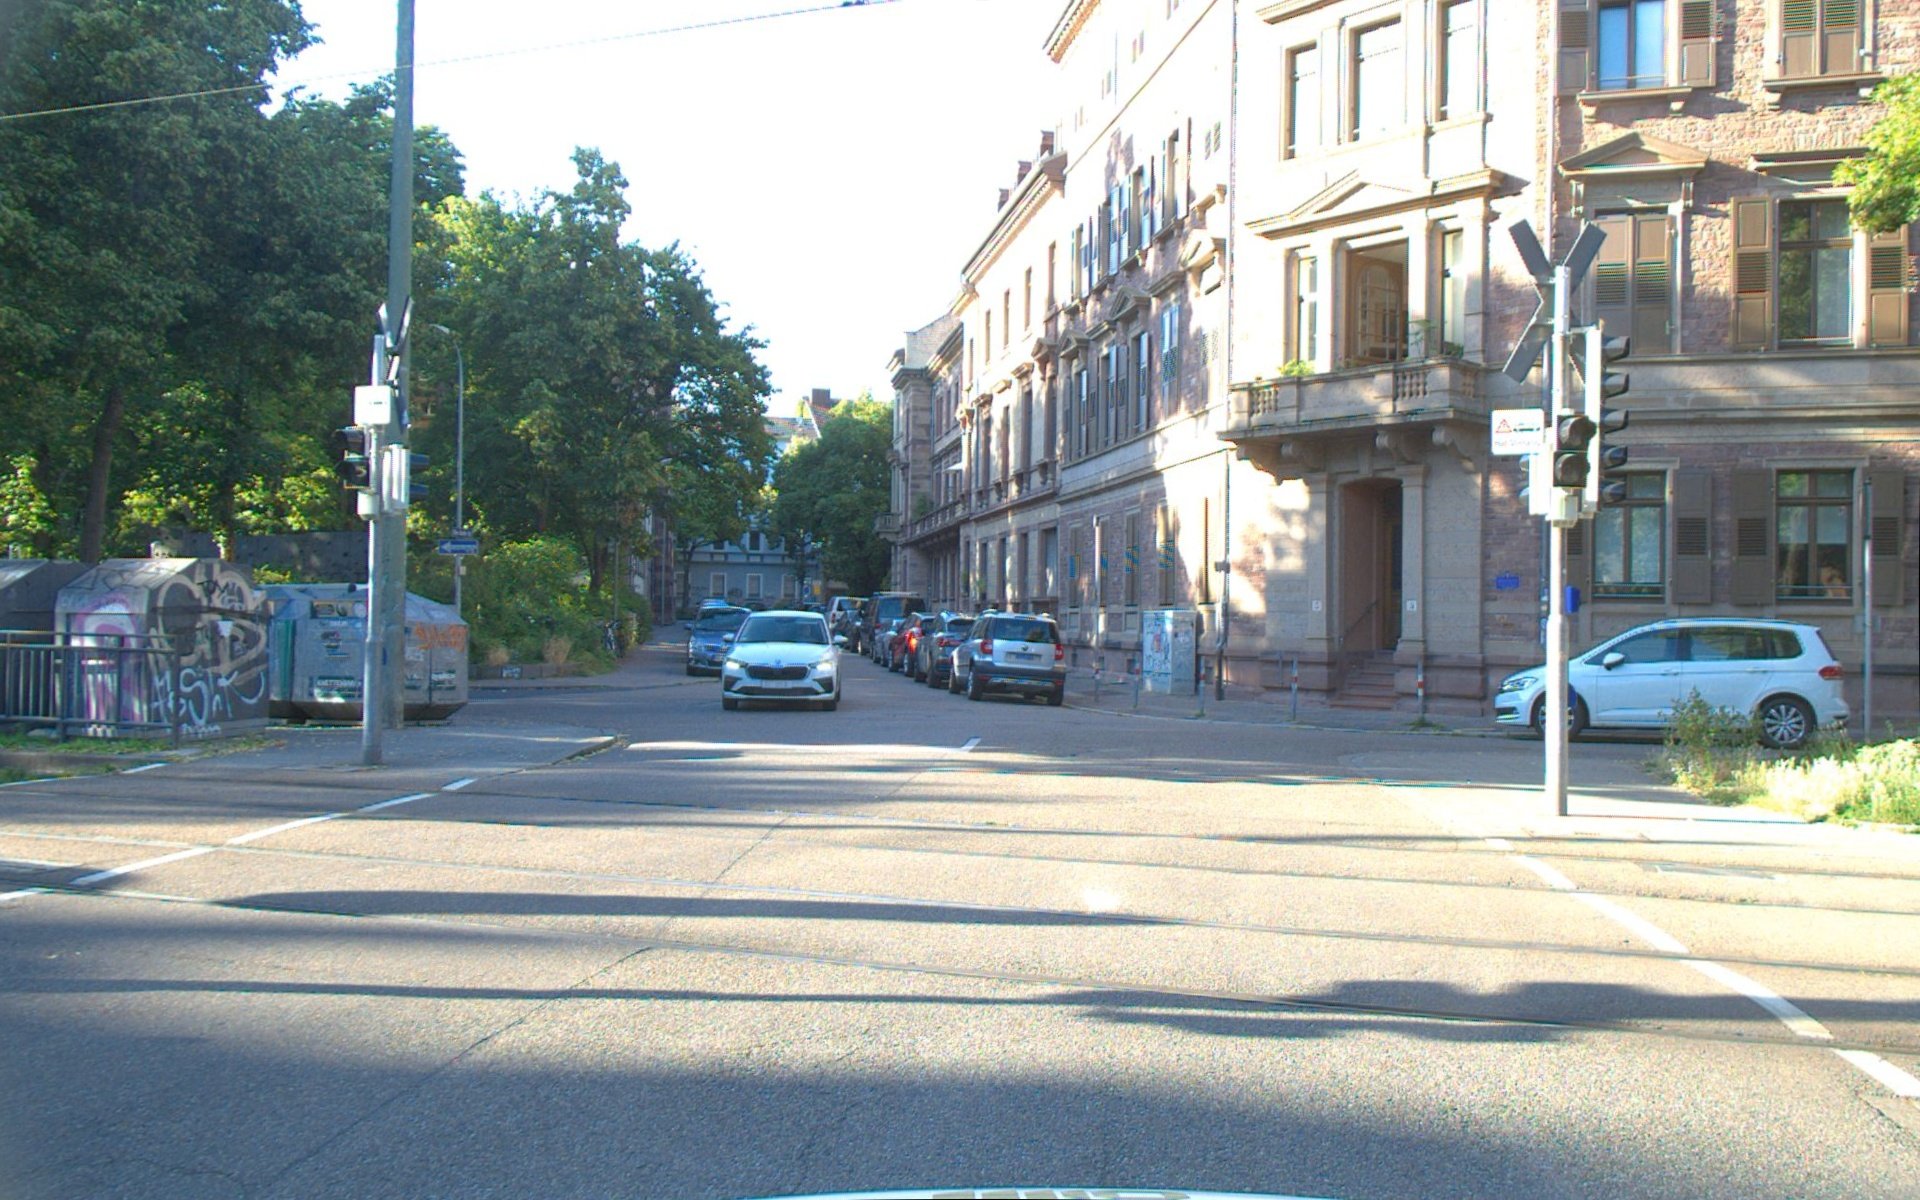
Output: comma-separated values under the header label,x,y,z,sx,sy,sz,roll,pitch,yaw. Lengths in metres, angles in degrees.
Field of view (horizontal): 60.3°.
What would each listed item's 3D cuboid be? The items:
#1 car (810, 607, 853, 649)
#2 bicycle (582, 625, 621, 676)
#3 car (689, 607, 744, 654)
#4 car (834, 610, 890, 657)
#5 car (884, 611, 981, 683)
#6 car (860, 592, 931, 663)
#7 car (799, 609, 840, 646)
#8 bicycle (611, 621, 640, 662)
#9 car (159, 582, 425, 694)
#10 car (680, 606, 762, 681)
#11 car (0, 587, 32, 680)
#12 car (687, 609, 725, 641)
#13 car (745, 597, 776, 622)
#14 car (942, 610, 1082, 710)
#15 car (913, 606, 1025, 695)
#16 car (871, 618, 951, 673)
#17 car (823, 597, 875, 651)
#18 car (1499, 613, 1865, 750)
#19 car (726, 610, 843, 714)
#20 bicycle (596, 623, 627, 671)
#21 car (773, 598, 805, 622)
label,x,y,z,sx,sy,sz,roll,pitch,yaw
car,-6.314,1.354,81.048,1.764,1.871,3.947,3,-1,-8
bicycle,-8.288,1.148,38.289,0.585,1.121,2.623,1,-1,-6
car,-8.706,1.068,59.217,1.792,1.526,3.924,4,-1,-8
car,-3.833,1.283,64.109,1.764,1.651,3.947,4,-1,-8
car,-0.752,1.154,42.255,1.765,1.642,3.945,4,-1,-11
car,-2.105,0.858,53.099,1.764,2.109,3.947,3,-1,-8
car,-7.348,1.398,86.172,1.764,1.758,3.947,4,-1,-8
bicycle,-9.579,1.166,47.417,0.585,1.121,2.623,1,-1,-7
car,-12.948,0.698,32.116,4.546,2.038,1.951,0,-1,17
car,-5.869,1.040,40.783,1.792,1.643,4.283,4,-1,-8
car,-21.910,0.685,35.260,3.808,1.937,1.577,0,-1,20
car,-13.047,1.277,85.167,1.792,1.526,3.924,4,-1,-8
car,-15.753,0.767,130.350,1.960,1.714,3.985,2,-3,-14
car,0.933,1.111,31.970,1.880,1.686,4.178,4,-1,-9
car,0.132,1.080,36.928,1.792,1.753,4.535,4,-1,-8
car,-1.432,1.260,47.009,1.764,1.369,3.947,4,-1,-8
car,-4.696,0.994,69.750,1.764,2.109,3.947,3,-1,-8
car,9.669,1.094,22.541,4.389,1.679,1.875,1,-3,18
car,-2.690,0.910,26.007,1.668,1.482,4.059,1,0,-4
bicycle,-8.626,1.151,40.983,0.585,1.121,2.622,1,-1,-8
car,-13.533,0.828,130.539,1.960,1.714,3.985,2,-3,-14
